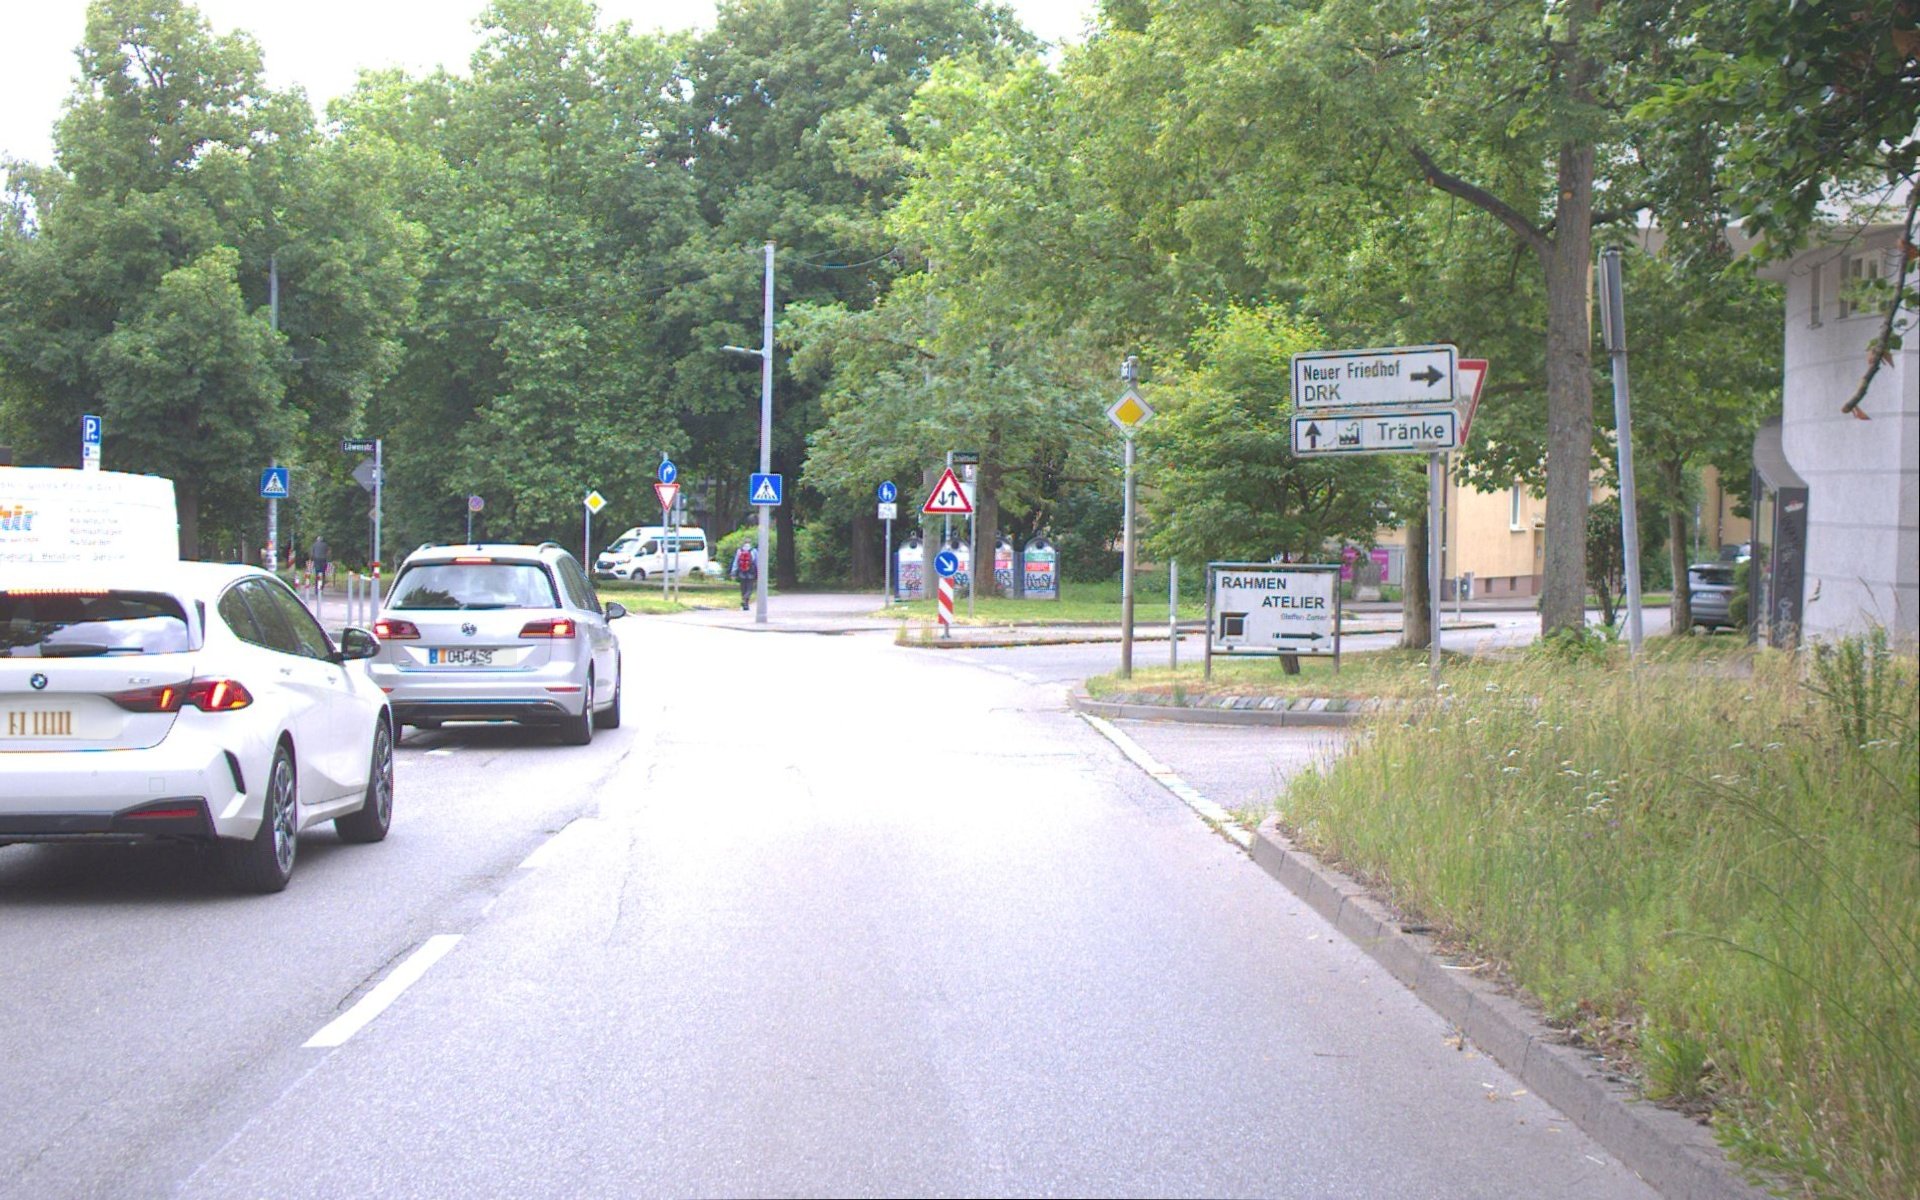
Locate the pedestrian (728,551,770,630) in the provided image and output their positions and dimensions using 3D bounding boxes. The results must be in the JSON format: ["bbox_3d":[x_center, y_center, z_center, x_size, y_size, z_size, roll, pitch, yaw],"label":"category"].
[{"bbox_3d":[-5.270,-0.248,85.934,0.923,1.865,1.019,-3,4,-5],"label":"pedestrian"}]

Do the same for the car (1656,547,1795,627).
[{"bbox_3d":[16.500,-0.275,73.975,1.877,1.563,4.013,5,2,27],"label":"car"}]

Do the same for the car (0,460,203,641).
[{"bbox_3d":[-14.623,-0.768,49.519,6.959,2.513,2.084,1,3,-38],"label":"car"}]

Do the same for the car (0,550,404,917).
[{"bbox_3d":[-3.884,0.536,16.468,1.795,1.512,4.207,-1,1,-1],"label":"car"}]

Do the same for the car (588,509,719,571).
[{"bbox_3d":[-12.547,-2.441,141.080,2.135,2.289,5.373,5,2,38],"label":"car"}]

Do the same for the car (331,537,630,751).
[{"bbox_3d":[-3.831,0.301,28.103,1.923,1.568,4.000,1,1,-1],"label":"car"}]
